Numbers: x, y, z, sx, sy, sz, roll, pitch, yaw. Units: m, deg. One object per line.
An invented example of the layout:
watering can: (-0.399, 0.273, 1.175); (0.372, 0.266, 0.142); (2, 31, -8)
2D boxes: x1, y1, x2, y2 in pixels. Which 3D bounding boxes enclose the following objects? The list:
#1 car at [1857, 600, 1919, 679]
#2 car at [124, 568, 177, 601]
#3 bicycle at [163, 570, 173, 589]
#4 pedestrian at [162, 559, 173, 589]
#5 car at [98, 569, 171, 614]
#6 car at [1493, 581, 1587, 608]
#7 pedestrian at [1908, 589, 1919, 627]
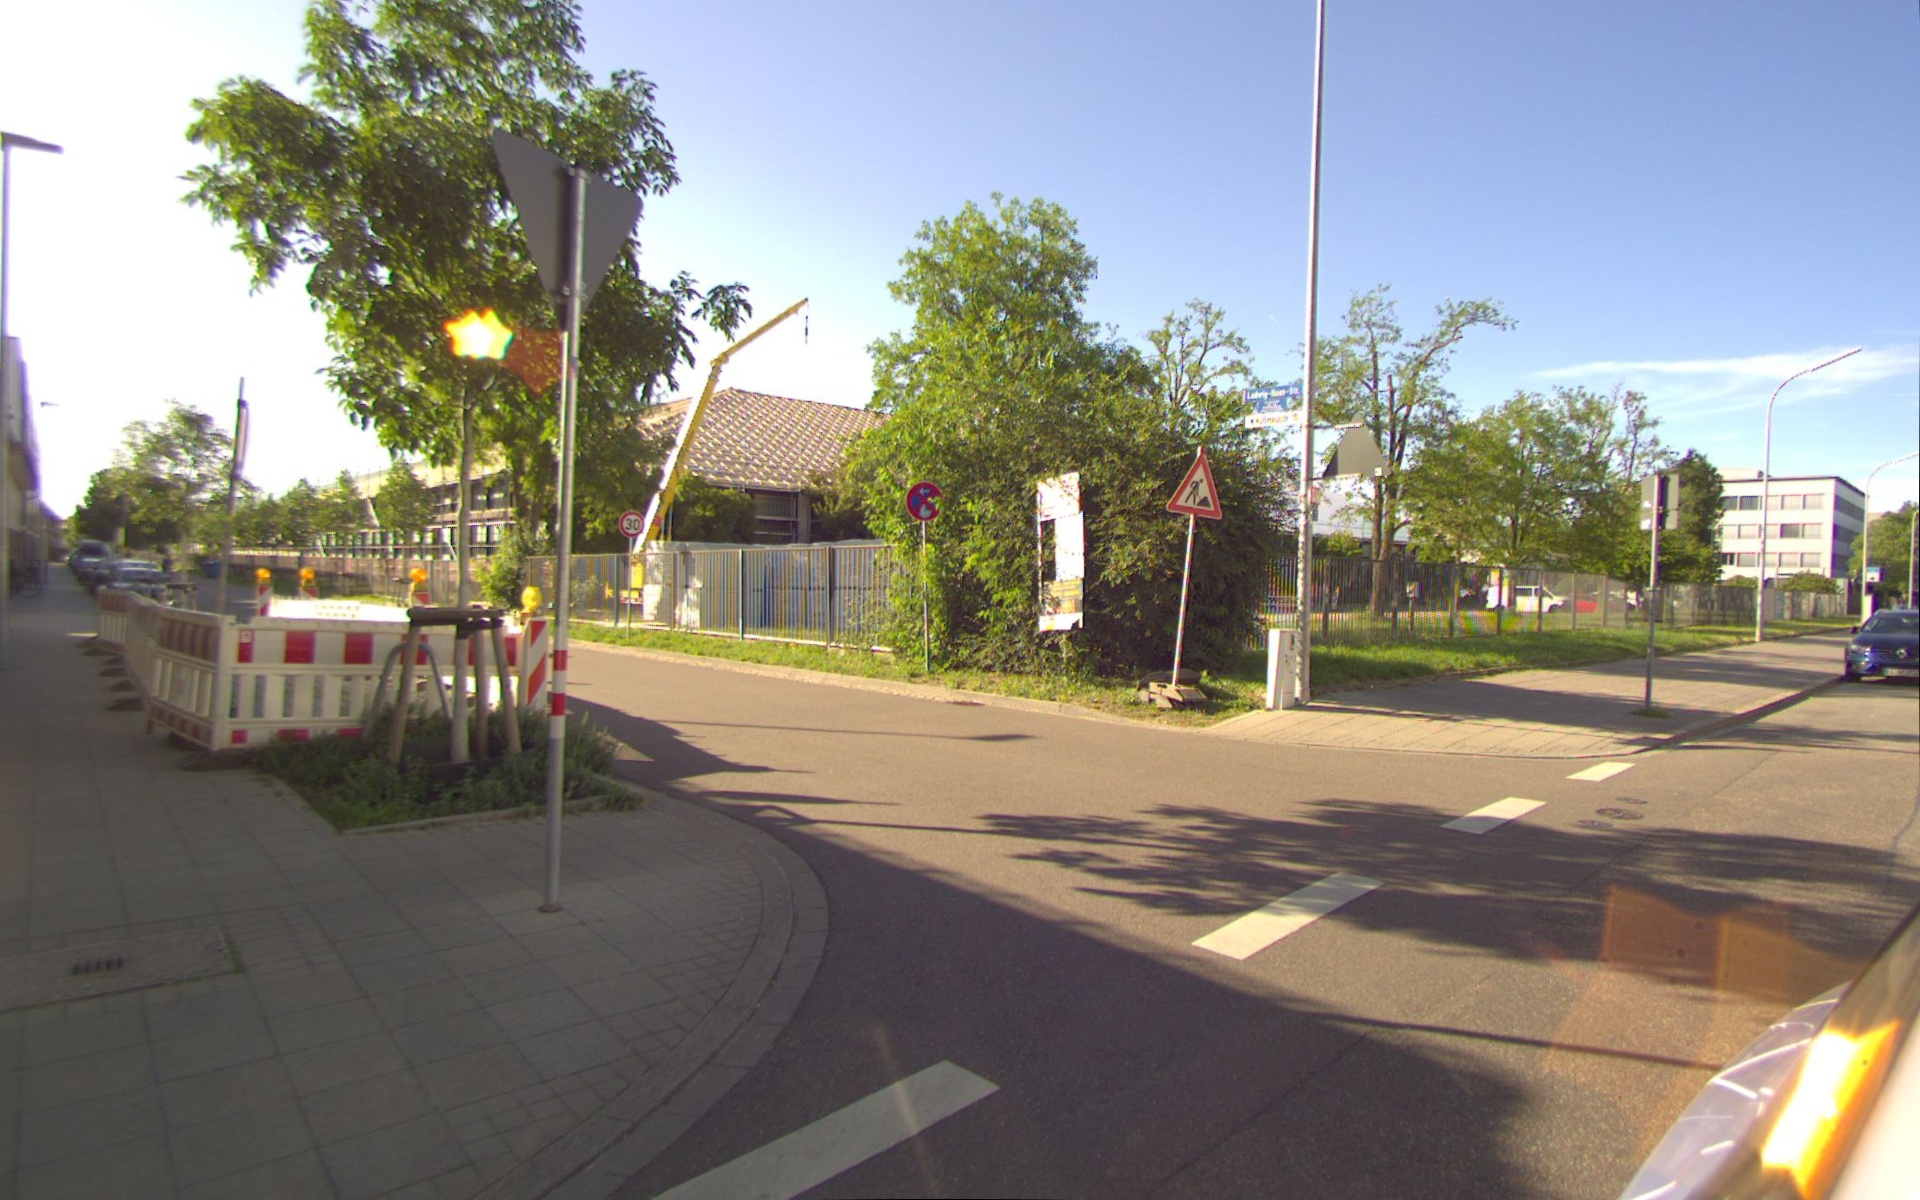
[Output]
car: (19.451, 0.745, 20.223); (4.141, 1.471, 1.820); (0, 0, -42)
car: (-37.716, -0.743, 47.129); (1.783, 1.431, 3.321); (0, 2, -41)
bicycle: (-45.750, -1.190, 58.444); (0.432, 1.110, 1.658); (0, 1, -39)
pedestrian: (-45.733, -1.518, 58.420); (0.471, 1.742, 0.485); (0, 1, -39)
car: (-27.916, -0.310, 34.196); (1.783, 1.425, 3.321); (0, 2, -41)
car: (37.856, -0.347, 66.099); (2.061, 1.665, 4.968); (0, 0, -44)
pedestrian: (42.100, 0.337, 44.480); (0.671, 1.632, 0.540); (0, 0, -41)
